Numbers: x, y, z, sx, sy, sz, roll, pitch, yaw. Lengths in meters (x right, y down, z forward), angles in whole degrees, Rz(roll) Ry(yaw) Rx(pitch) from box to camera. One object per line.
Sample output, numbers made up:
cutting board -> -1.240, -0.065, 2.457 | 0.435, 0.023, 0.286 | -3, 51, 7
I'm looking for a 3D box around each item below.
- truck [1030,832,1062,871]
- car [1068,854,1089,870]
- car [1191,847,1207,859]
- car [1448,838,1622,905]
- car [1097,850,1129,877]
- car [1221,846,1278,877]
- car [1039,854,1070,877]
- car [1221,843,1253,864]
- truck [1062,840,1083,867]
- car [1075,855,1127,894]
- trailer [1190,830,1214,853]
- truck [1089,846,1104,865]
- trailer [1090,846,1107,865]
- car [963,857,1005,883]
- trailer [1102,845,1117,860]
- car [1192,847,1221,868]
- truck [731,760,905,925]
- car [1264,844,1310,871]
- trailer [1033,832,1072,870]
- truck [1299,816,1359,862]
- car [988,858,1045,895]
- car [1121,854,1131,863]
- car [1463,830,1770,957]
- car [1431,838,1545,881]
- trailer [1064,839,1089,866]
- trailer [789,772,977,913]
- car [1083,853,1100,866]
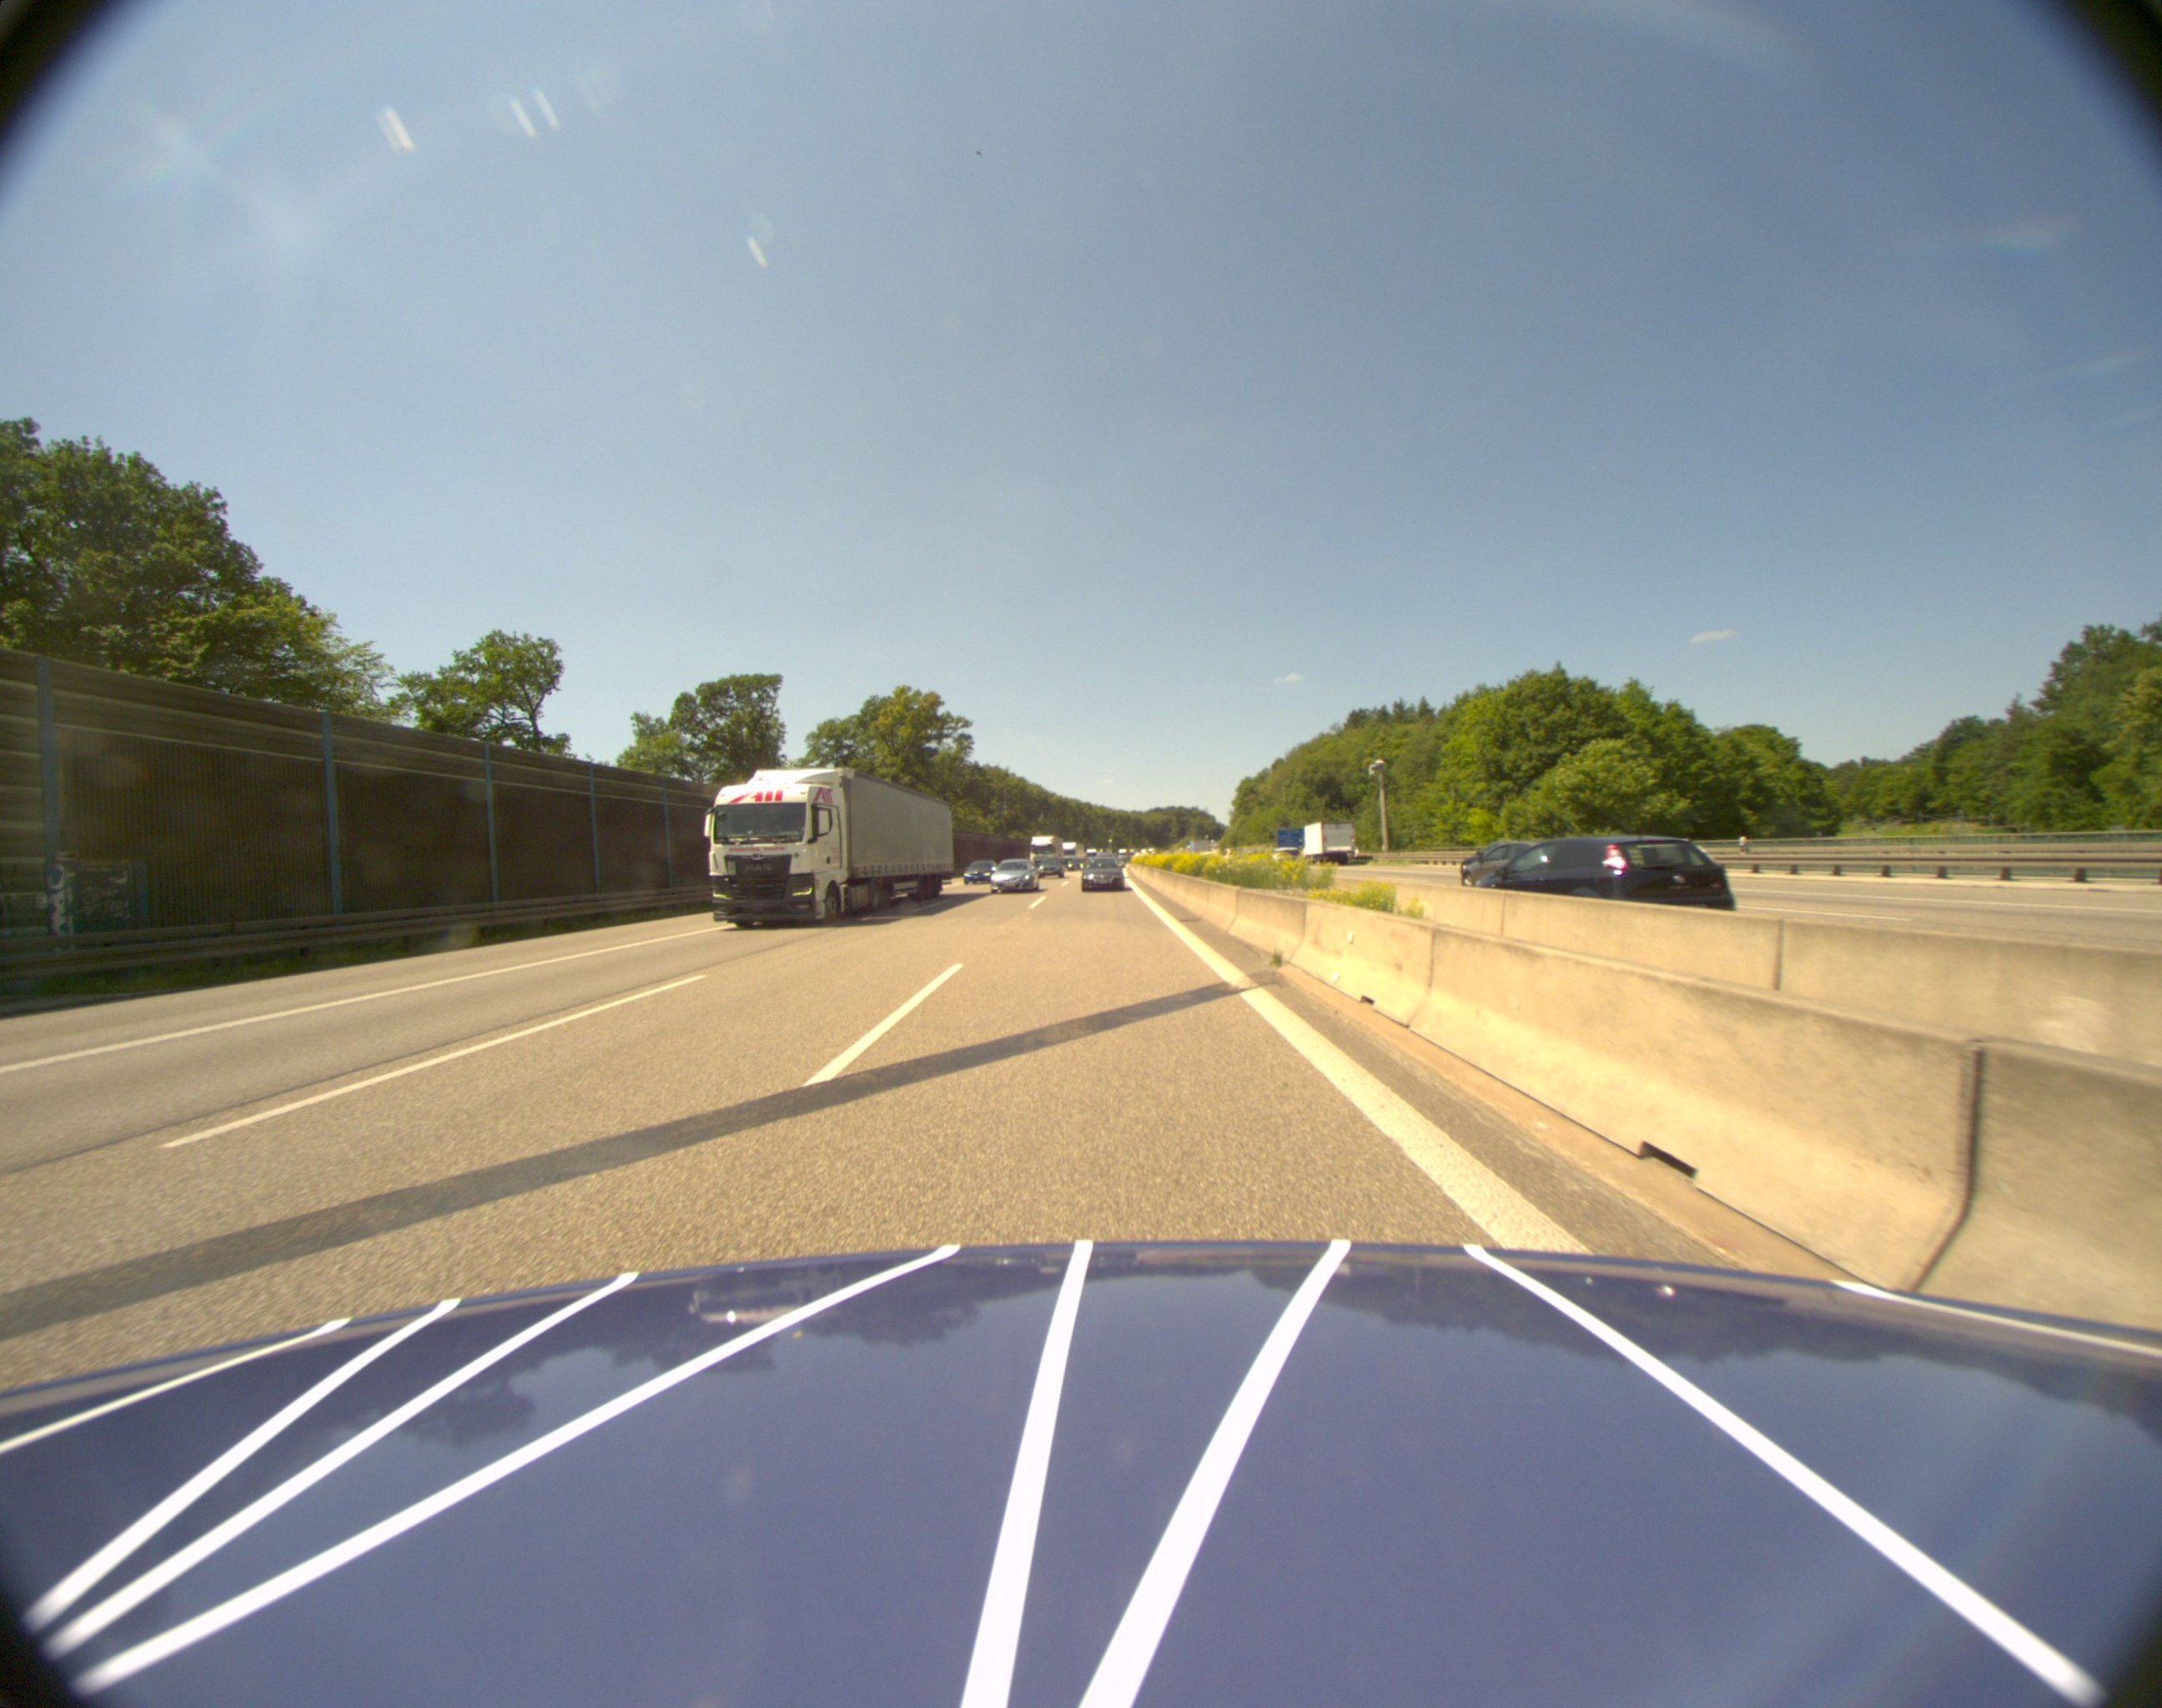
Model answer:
truck -> -3.977, -0.313, 87.103 | 2.811, 4.190, 5.423 | -2, 0, 6
car -> -0.291, 0.881, 85.430 | 1.998, 1.641, 4.001 | -2, 0, 4
car -> 16.388, -0.173, 105.585 | 1.790, 1.535, 4.157 | -2, 0, 3
car -> 11.052, 0.380, 18.896 | 1.847, 1.412, 4.234 | -2, 0, 1
car -> 2.198, 0.597, 51.301 | 1.998, 1.641, 4.000 | -2, 0, 3
car -> 8.072, 0.340, 36.836 | 1.736, 1.397, 4.611 | -1, 0, 0
car -> -1.908, 0.812, 55.897 | 1.907, 1.550, 4.001 | -2, 0, 2
car -> 13.651, -0.043, 66.618 | 1.998, 1.692, 4.530 | -2, 0, 3
truck -> -1.303, -0.117, 121.454 | 2.544, 4.149, 4.748 | -2, 0, 8
car -> 0.852, 0.787, 31.235 | 1.907, 1.410, 4.001 | -2, 0, 2
trailer -> 21.423, -2.140, 134.732 | 2.787, 3.834, 10.171 | -2, 0, 2
truck -> 3.510, 0.325, 175.751 | 2.853, 4.382, 5.241 | -2, 0, 6
trailer -> 4.339, 0.318, 183.582 | 2.853, 4.391, 13.033 | -2, 0, 6
car -> -6.132, 0.970, 48.396 | 1.860, 1.484, 4.178 | -2, 0, 4
trailer -> 7.971, -0.380, 209.722 | 3.154, 4.061, 6.186 | -2, 0, 9
car -> 9.147, 0.242, 55.624 | 1.636, 1.419, 4.037 | -2, 0, 3
truck -> -7.263, -0.298, 21.857 | 2.604, 4.067, 5.553 | -2, 1, 4
car -> 12.502, 0.214, 46.297 | 1.847, 1.537, 4.000 | -2, 0, 3
trailer -> -3.337, -0.319, 93.791 | 2.820, 4.190, 13.470 | -2, 0, 6
truck -> 20.286, -1.198, 62.626 | 2.742, 3.454, 7.316 | -2, 0, 3
car -> -2.769, 0.942, 33.625 | 1.860, 1.426, 4.178 | -2, 0, 4
car -> 9.428, 0.972, 159.680 | 1.998, 1.641, 4.001 | -2, 0, 4
car -> 7.225, 0.464, 10.800 | 1.669, 1.420, 3.857 | -2, 0, 1
car -> 15.649, 0.183, 29.542 | 1.998, 1.472, 4.691 | -2, 0, 2
trailer -> -0.678, -0.298, 126.144 | 2.541, 4.149, 10.182 | -2, 0, 8
trailer -> -6.771, -0.376, 29.191 | 2.604, 4.066, 13.594 | -2, 0, 4
car -> 1.399, 0.754, 102.464 | 1.998, 1.641, 4.001 | -2, 0, 4
